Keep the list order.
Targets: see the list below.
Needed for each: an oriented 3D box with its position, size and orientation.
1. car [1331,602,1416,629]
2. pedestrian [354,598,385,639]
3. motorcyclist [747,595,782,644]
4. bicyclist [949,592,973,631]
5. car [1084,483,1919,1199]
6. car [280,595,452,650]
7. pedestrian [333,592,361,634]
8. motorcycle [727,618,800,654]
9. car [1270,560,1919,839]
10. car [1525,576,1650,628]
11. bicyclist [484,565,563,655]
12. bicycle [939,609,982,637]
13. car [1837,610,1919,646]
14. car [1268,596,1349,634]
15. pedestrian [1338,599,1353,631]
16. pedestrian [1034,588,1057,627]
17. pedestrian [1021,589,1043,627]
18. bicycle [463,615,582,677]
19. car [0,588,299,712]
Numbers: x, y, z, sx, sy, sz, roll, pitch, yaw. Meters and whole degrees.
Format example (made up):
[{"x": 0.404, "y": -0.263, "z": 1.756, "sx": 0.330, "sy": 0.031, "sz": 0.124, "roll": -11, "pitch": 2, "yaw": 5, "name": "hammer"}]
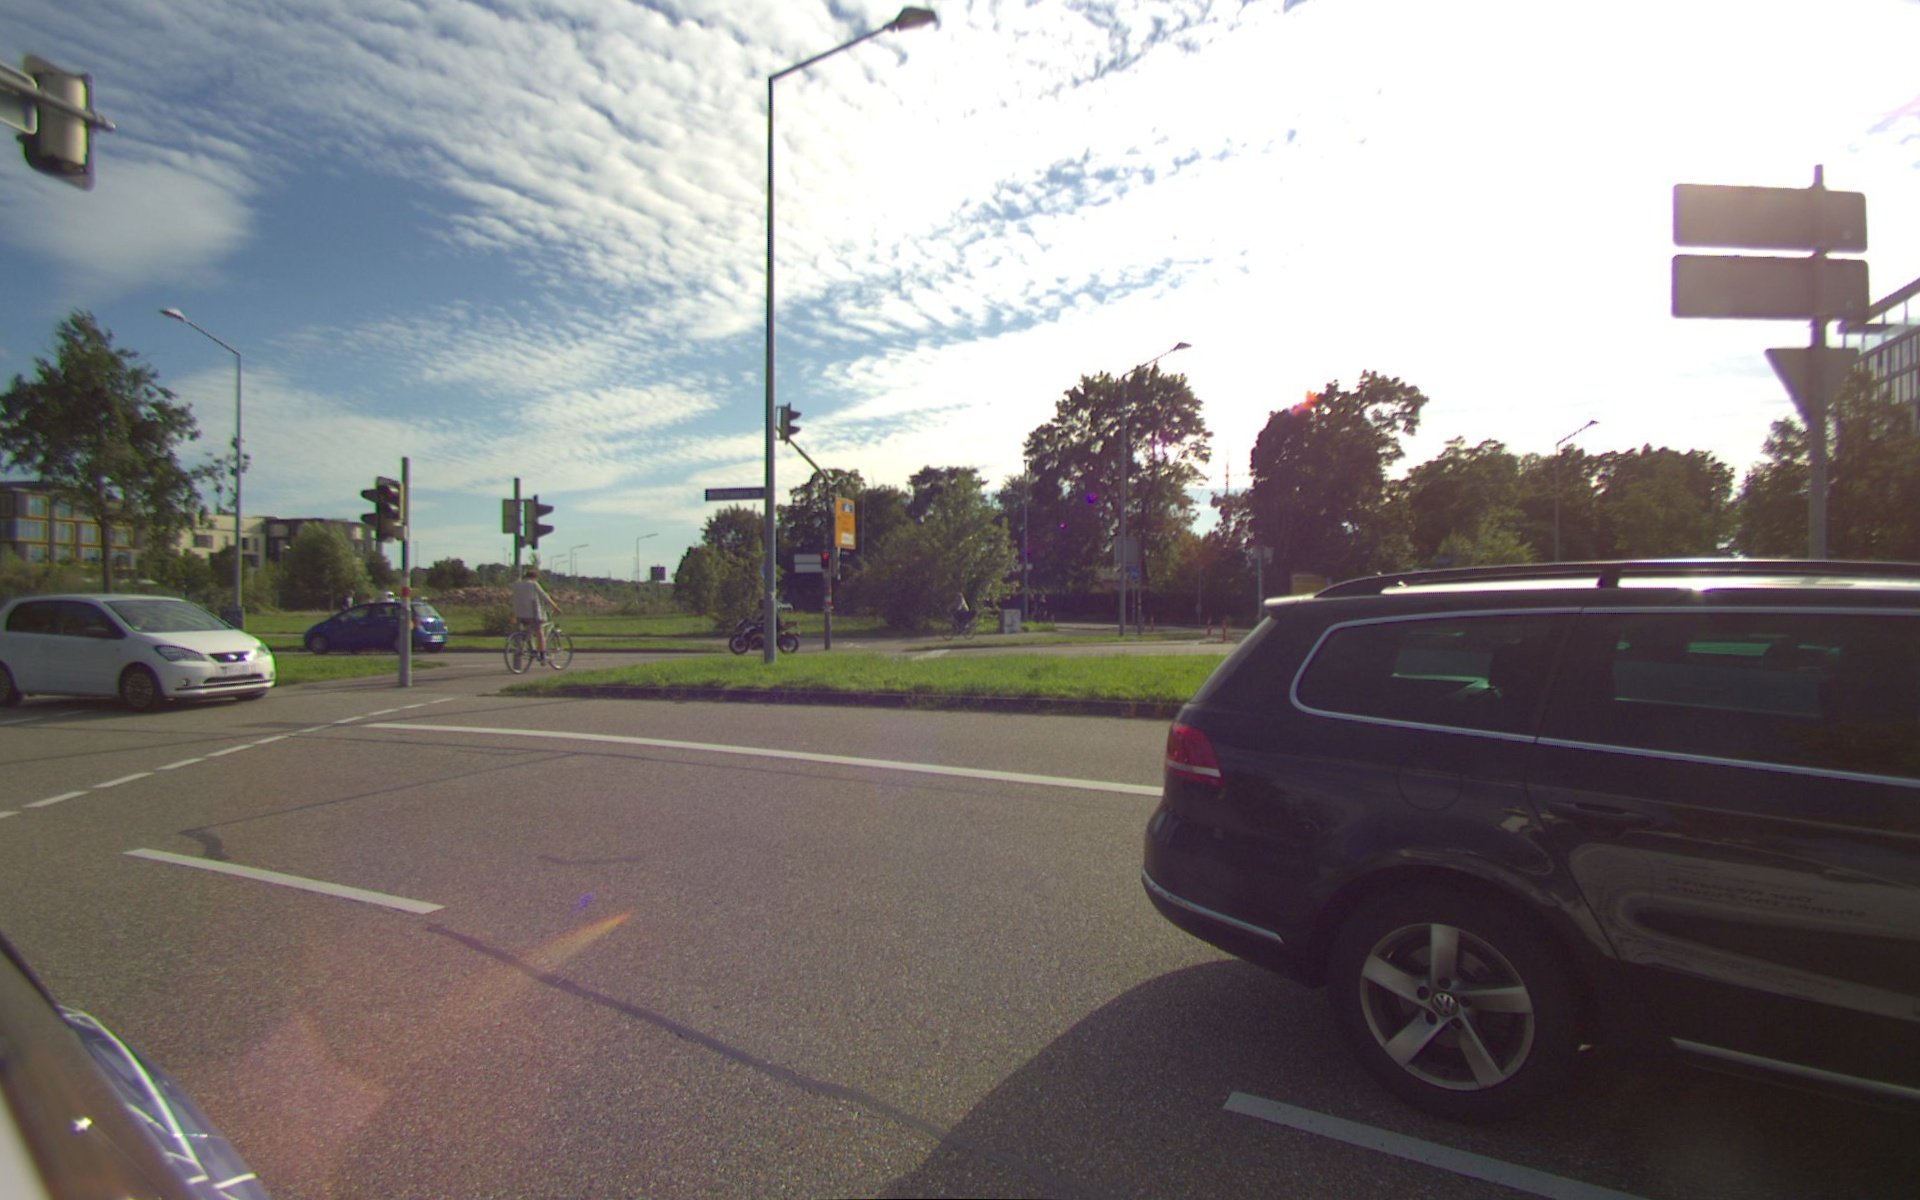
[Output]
[{"x": 22.667, "y": 0.812, "z": 55.579, "sx": 3.997, "sy": 1.431, "sz": 1.745, "roll": 0, "pitch": 0, "yaw": 40, "name": "car"}, {"x": -22.328, "y": 0.680, "z": 38.254, "sx": 0.747, "sy": 1.519, "sz": 0.628, "roll": 0, "pitch": 3, "yaw": 5, "name": "pedestrian"}, {"x": -5.525, "y": 0.547, "z": 28.642, "sx": 0.928, "sy": 1.376, "sz": 0.786, "roll": 0, "pitch": 0, "yaw": -9, "name": "motorcyclist"}, {"x": 0.031, "y": 0.427, "z": 38.217, "sx": 0.611, "sy": 1.456, "sz": 0.689, "roll": 0, "pitch": 0, "yaw": 41, "name": "bicyclist"}, {"x": 2.940, "y": 0.509, "z": 2.691, "sx": 4.835, "sy": 1.578, "sz": 1.976, "roll": 0, "pitch": 2, "yaw": 36, "name": "car"}, {"x": -16.940, "y": 0.663, "z": 28.980, "sx": 3.943, "sy": 1.513, "sz": 1.781, "roll": 0, "pitch": -2, "yaw": 5, "name": "car"}, {"x": -23.982, "y": 0.510, "z": 39.584, "sx": 0.651, "sy": 1.641, "sz": 0.626, "roll": 0, "pitch": 1, "yaw": 12, "name": "pedestrian"}, {"x": -5.552, "y": 1.000, "z": 28.631, "sx": 1.991, "sy": 0.994, "sz": 0.786, "roll": 0, "pitch": 0, "yaw": -9, "name": "motorcycle"}, {"x": 4.630, "y": 0.521, "z": 6.650, "sx": 4.626, "sy": 1.456, "sz": 1.835, "roll": -1, "pitch": 0, "yaw": 34, "name": "car"}, {"x": 23.851, "y": 0.116, "z": 38.462, "sx": 4.482, "sy": 1.839, "sz": 1.691, "roll": 1, "pitch": -2, "yaw": -22, "name": "car"}, {"x": -7.821, "y": 0.167, "z": 18.172, "sx": 0.988, "sy": 1.567, "sz": 0.862, "roll": 0, "pitch": 0, "yaw": 14, "name": "bicyclist"}, {"x": 0.020, "y": 0.865, "z": 38.177, "sx": 0.610, "sy": 0.996, "sz": 1.813, "roll": 0, "pitch": 0, "yaw": 40, "name": "bicycle"}, {"x": 40.097, "y": 1.186, "z": 42.911, "sx": 3.958, "sy": 1.513, "sz": 1.677, "roll": -1, "pitch": -2, "yaw": 16, "name": "car"}, {"x": 15.371, "y": 0.629, "z": 44.833, "sx": 1.658, "sy": 1.512, "sz": 4.003, "roll": 0, "pitch": 1, "yaw": -10, "name": "car"}, {"x": 19.672, "y": 0.775, "z": 51.640, "sx": 0.539, "sy": 1.637, "sz": 0.507, "roll": 0, "pitch": 0, "yaw": -41, "name": "pedestrian"}, {"x": 4.416, "y": 0.382, "z": 52.118, "sx": 0.851, "sy": 1.930, "sz": 0.900, "roll": -1, "pitch": 2, "yaw": -21, "name": "pedestrian"}, {"x": 3.675, "y": 0.400, "z": 51.709, "sx": 0.851, "sy": 1.930, "sz": 0.900, "roll": -1, "pitch": 2, "yaw": -21, "name": "pedestrian"}, {"x": -7.825, "y": 0.797, "z": 18.205, "sx": 0.992, "sy": 1.015, "sz": 1.952, "roll": 0, "pitch": 0, "yaw": 14, "name": "bicycle"}, {"x": -11.011, "y": 0.585, "z": 13.390, "sx": 3.622, "sy": 1.475, "sz": 1.761, "roll": 0, "pitch": 1, "yaw": 12, "name": "car"}]
